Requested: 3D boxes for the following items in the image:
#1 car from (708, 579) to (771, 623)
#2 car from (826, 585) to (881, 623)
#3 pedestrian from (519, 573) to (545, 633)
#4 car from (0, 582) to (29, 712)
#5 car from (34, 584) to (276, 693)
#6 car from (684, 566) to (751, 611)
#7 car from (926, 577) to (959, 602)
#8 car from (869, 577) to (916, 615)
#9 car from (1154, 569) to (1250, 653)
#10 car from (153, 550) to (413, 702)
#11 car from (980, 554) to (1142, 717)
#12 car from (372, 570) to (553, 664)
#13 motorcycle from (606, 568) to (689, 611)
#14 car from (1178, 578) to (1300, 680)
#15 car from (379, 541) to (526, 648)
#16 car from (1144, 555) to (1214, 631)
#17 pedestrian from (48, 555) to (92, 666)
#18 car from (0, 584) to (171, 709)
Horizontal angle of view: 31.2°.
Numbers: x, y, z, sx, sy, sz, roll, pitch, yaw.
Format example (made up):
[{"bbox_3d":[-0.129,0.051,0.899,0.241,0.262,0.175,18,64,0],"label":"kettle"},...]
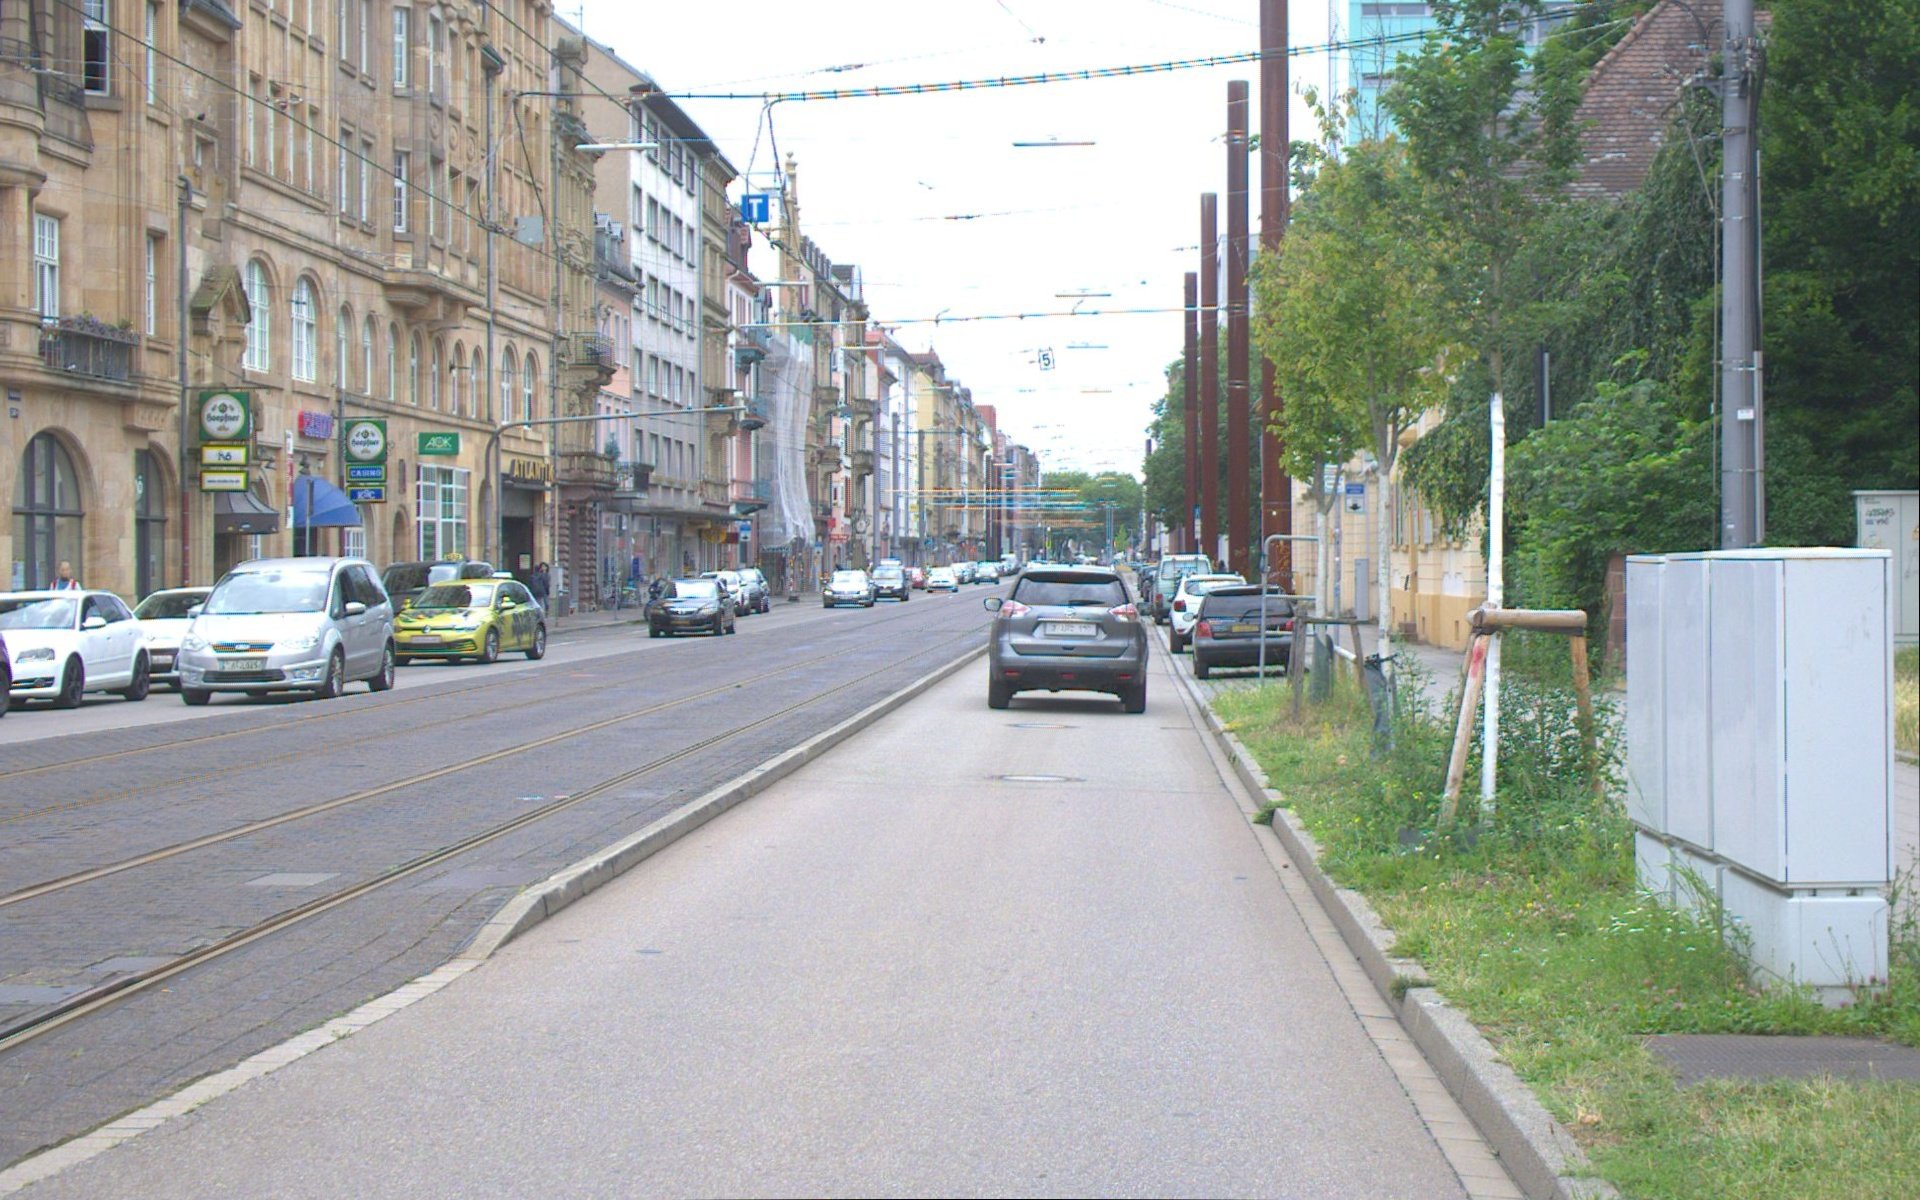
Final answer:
[{"bbox_3d":[-7.799,0.020,122.072,1.776,1.499,4.401,0,1,2],"label":"car"},{"bbox_3d":[-4.138,0.138,134.245,1.759,1.444,4.614,0,1,3],"label":"car"},{"bbox_3d":[-11.472,0.081,92.125,0.568,1.592,0.718,0,0,2],"label":"pedestrian"},{"bbox_3d":[-11.376,0.548,35.924,1.863,1.394,3.894,-2,0,6],"label":"car"},{"bbox_3d":[-10.806,0.482,46.444,1.927,1.375,4.257,0,1,6],"label":"car"},{"bbox_3d":[-8.122,-0.405,115.460,1.776,1.499,4.401,0,1,2],"label":"car"},{"bbox_3d":[-1.010,-0.624,200.925,1.687,1.415,4.135,0,1,2],"label":"car"},{"bbox_3d":[-3.018,-0.184,154.534,1.759,1.666,4.614,0,1,3],"label":"car"},{"bbox_3d":[4.849,0.205,69.260,1.755,1.569,3.930,-2,0,2],"label":"car"},{"bbox_3d":[-8.101,0.269,41.603,1.863,1.700,4.908,-1,1,4],"label":"car"},{"bbox_3d":[1.224,0.379,40.479,1.750,1.750,3.923,2,1,3],"label":"car"},{"bbox_3d":[-8.537,0.259,59.397,1.899,1.506,4.427,-1,1,8],"label":"car"},{"bbox_3d":[-9.389,-0.316,103.260,2.336,1.298,0.883,0,0,-33],"label":"motorcycle"},{"bbox_3d":[4.227,0.417,52.477,1.637,1.429,3.930,-2,0,2],"label":"car"},{"bbox_3d":[-10.009,-0.126,68.170,1.899,1.970,5.097,-2,0,2],"label":"car"},{"bbox_3d":[6.386,-0.228,100.776,1.851,2.108,4.984,-3,0,2],"label":"car"},{"bbox_3d":[-13.879,0.157,53.633,0.630,1.713,0.533,0,0,-11],"label":"pedestrian"},{"bbox_3d":[-11.016,0.549,41.362,1.747,1.375,4.361,-3,0,4],"label":"car"}]
